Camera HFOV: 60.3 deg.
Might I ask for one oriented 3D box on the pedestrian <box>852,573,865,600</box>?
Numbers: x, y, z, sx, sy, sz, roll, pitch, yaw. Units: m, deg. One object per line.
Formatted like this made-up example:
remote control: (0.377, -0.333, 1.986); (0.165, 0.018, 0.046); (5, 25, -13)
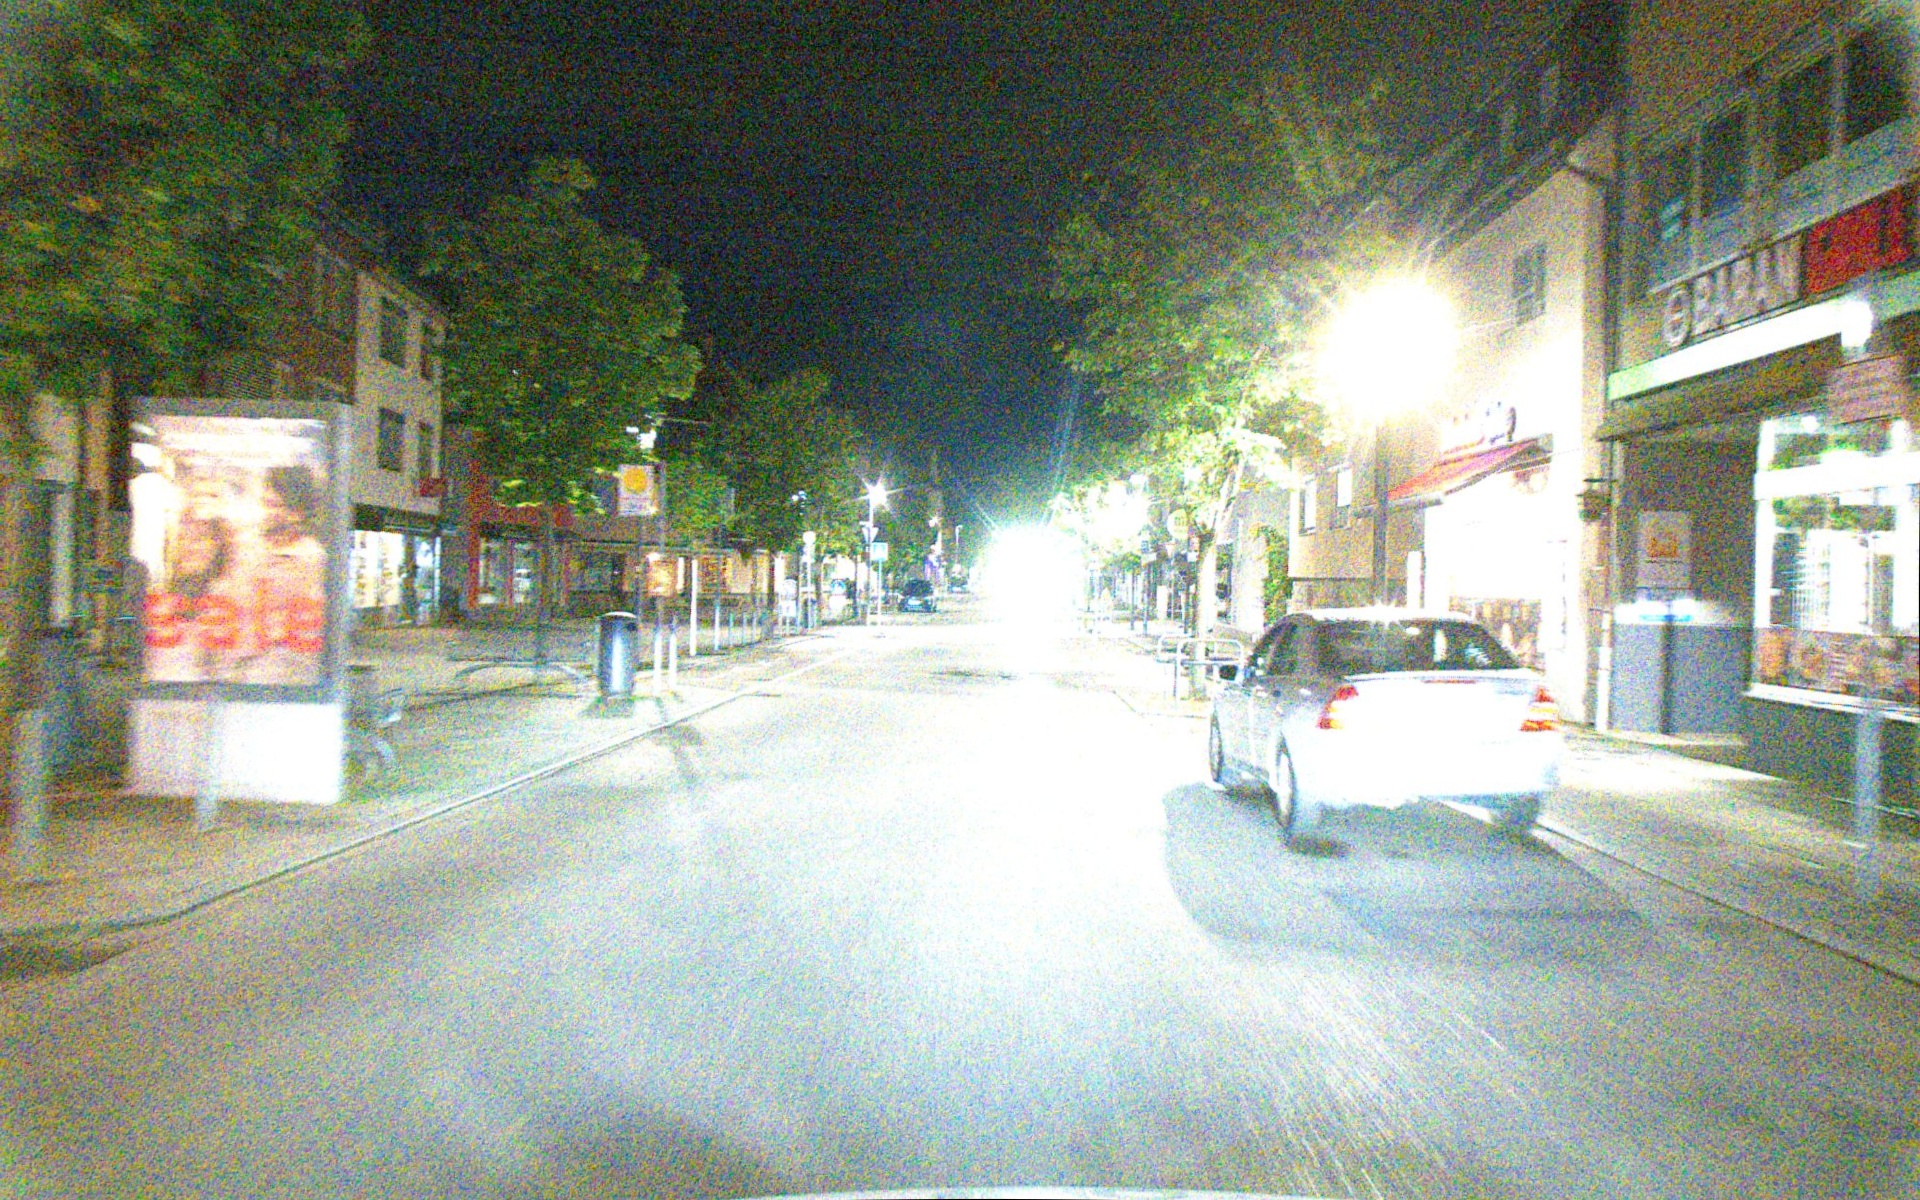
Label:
pedestrian: (-6.645, -0.883, 108.184); (0.753, 1.684, 0.817); (1, 2, 3)

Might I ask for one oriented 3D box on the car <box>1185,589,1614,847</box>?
car: (2.902, 0.686, 11.998); (1.700, 1.466, 4.494); (1, 1, -3)

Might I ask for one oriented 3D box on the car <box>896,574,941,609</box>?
car: (-2.217, -0.491, 89.538); (1.976, 1.720, 5.005); (3, 1, 3)

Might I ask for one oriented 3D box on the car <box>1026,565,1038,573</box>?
car: (11.203, -4.812, 257.634); (1.687, 1.268, 4.239); (1, 1, 4)

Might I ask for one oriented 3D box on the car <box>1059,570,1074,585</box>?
car: (12.656, -2.695, 196.573); (1.738, 1.681, 4.367); (1, 1, 4)

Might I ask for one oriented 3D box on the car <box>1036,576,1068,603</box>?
car: (5.238, -0.607, 94.815); (1.640, 1.485, 3.676); (1, 1, 0)

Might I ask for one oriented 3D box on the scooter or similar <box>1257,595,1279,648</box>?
scooter or similar: (7.638, 0.533, 41.011); (0.365, 1.299, 1.306); (1, -1, 3)

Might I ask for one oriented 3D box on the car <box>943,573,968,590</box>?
car: (-0.374, -1.621, 143.593); (1.874, 1.394, 4.460); (1, 2, 4)
